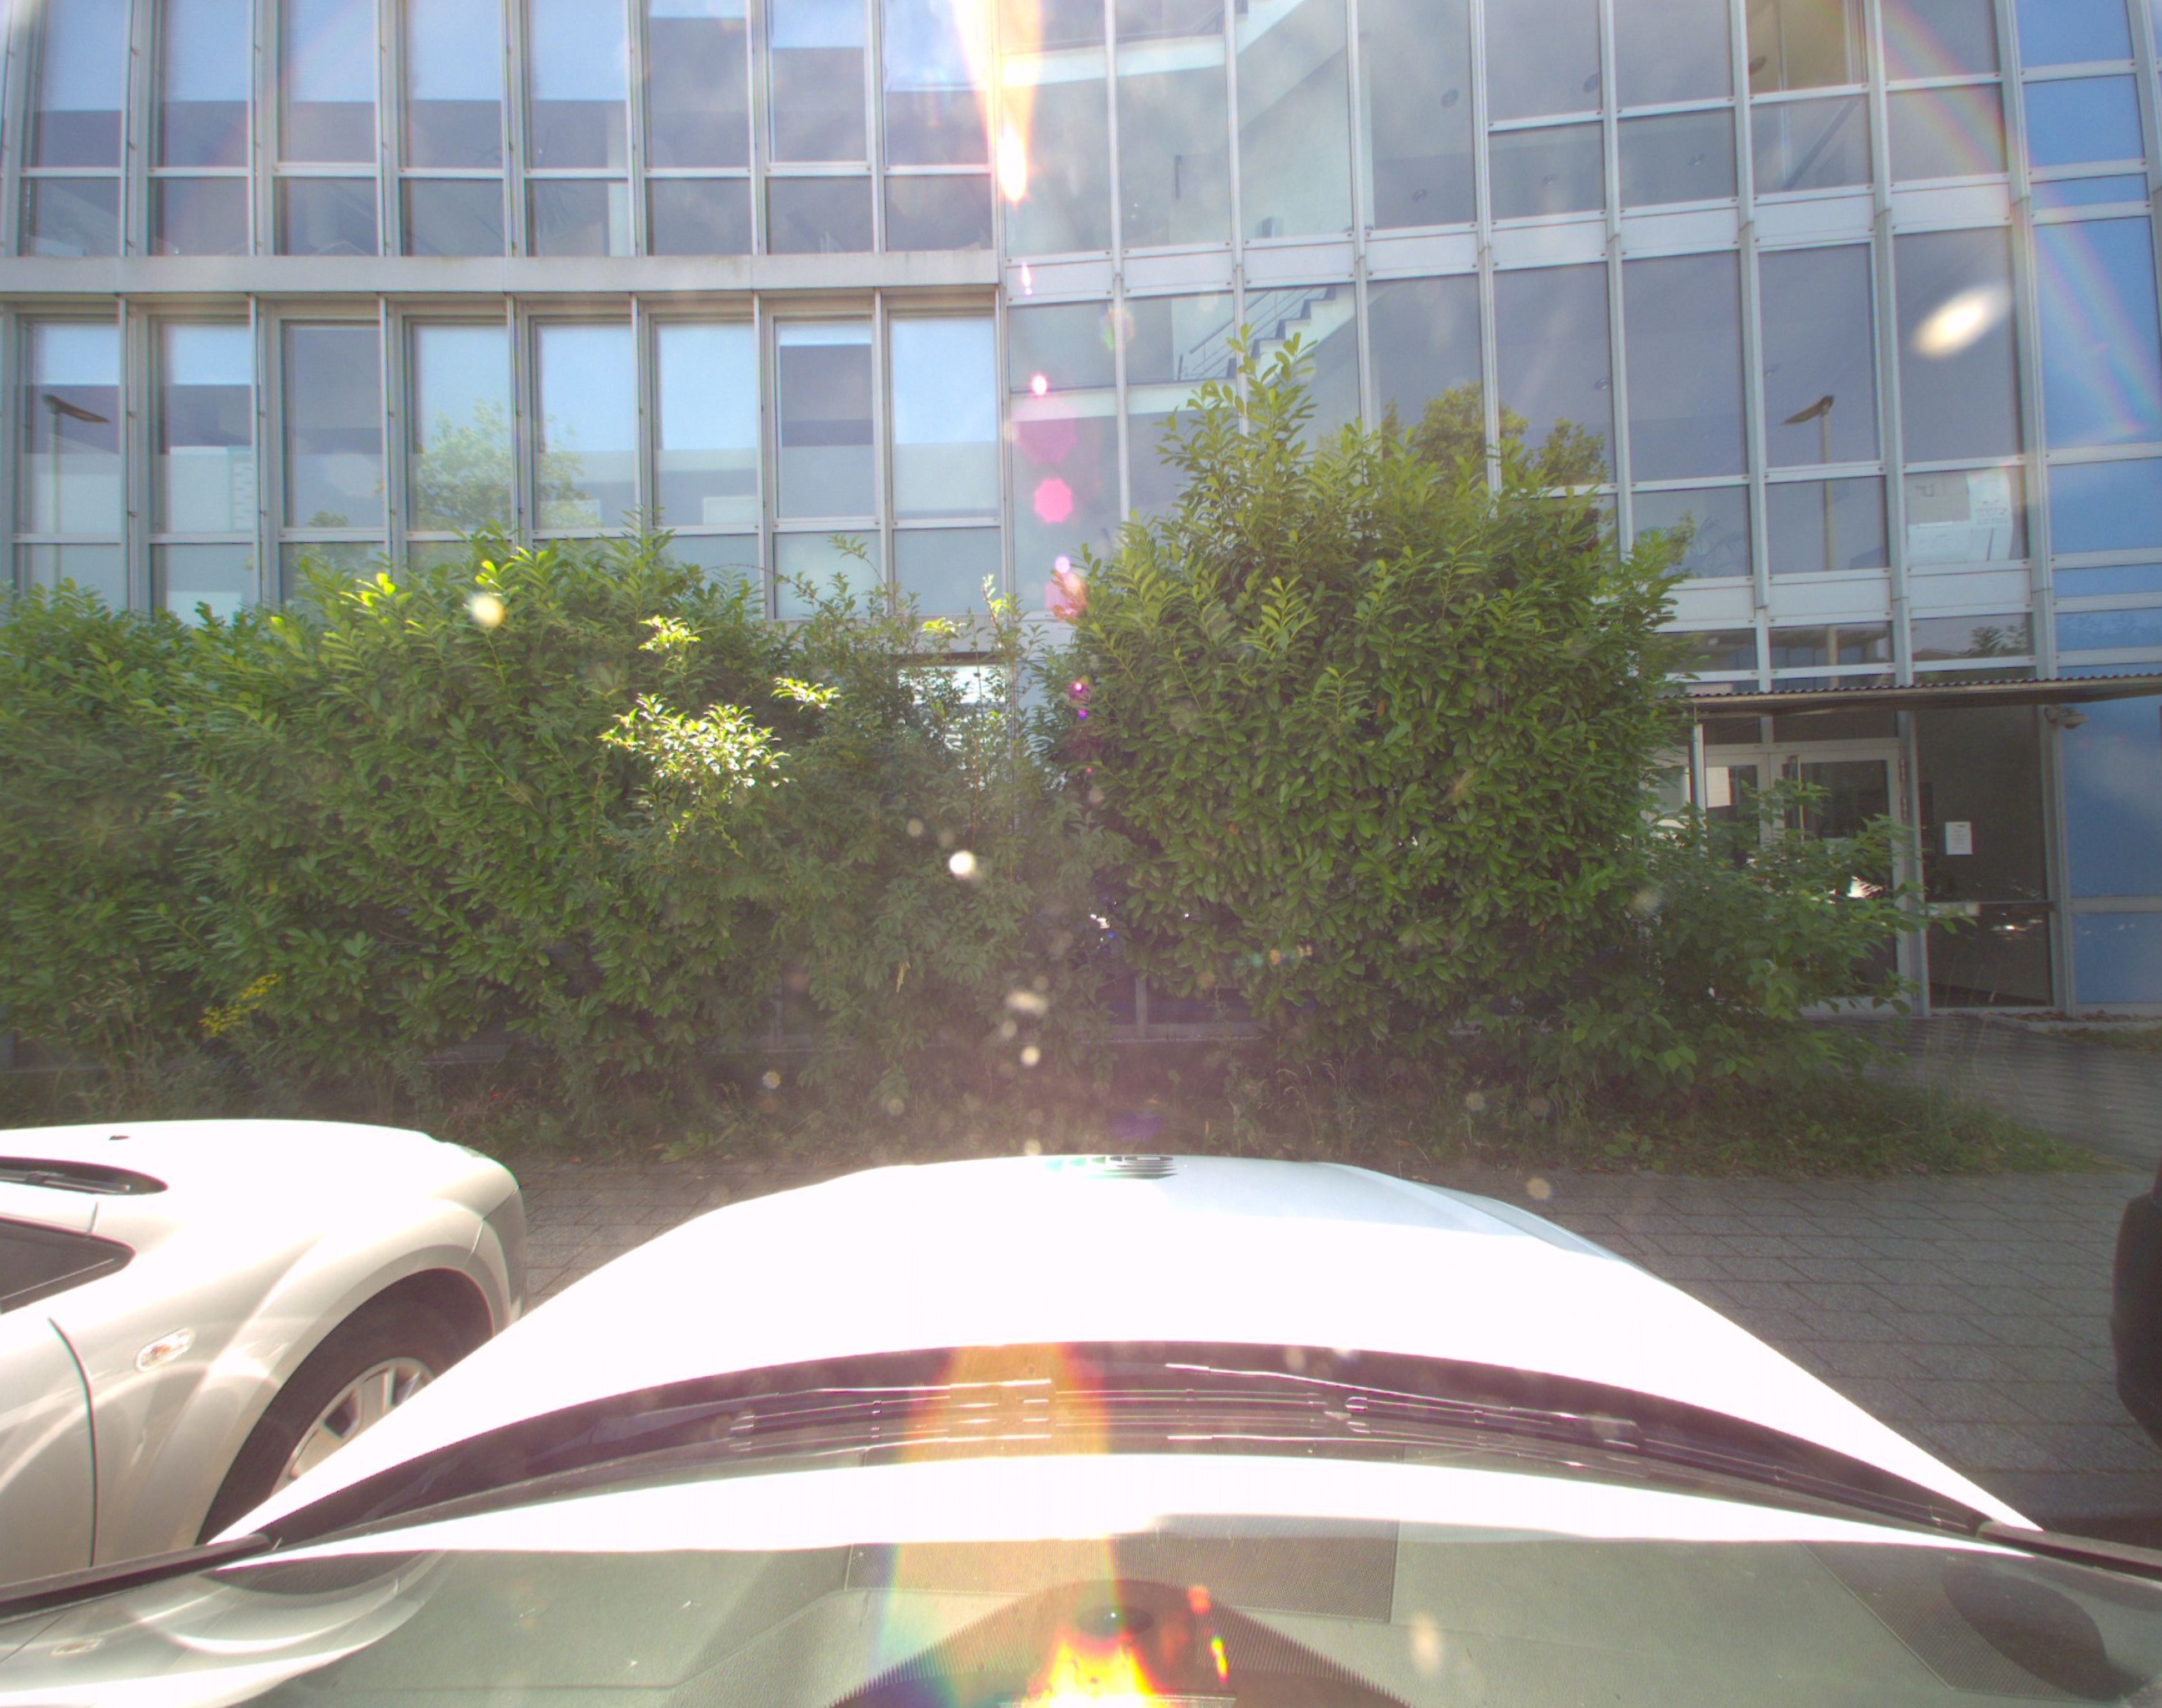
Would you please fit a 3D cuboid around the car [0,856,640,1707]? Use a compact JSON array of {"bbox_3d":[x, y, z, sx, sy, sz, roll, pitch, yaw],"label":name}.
[{"bbox_3d":[-2.171,0.752,0.164,1.713,1.479,4.349,-1,0,1],"label":"car"}]
